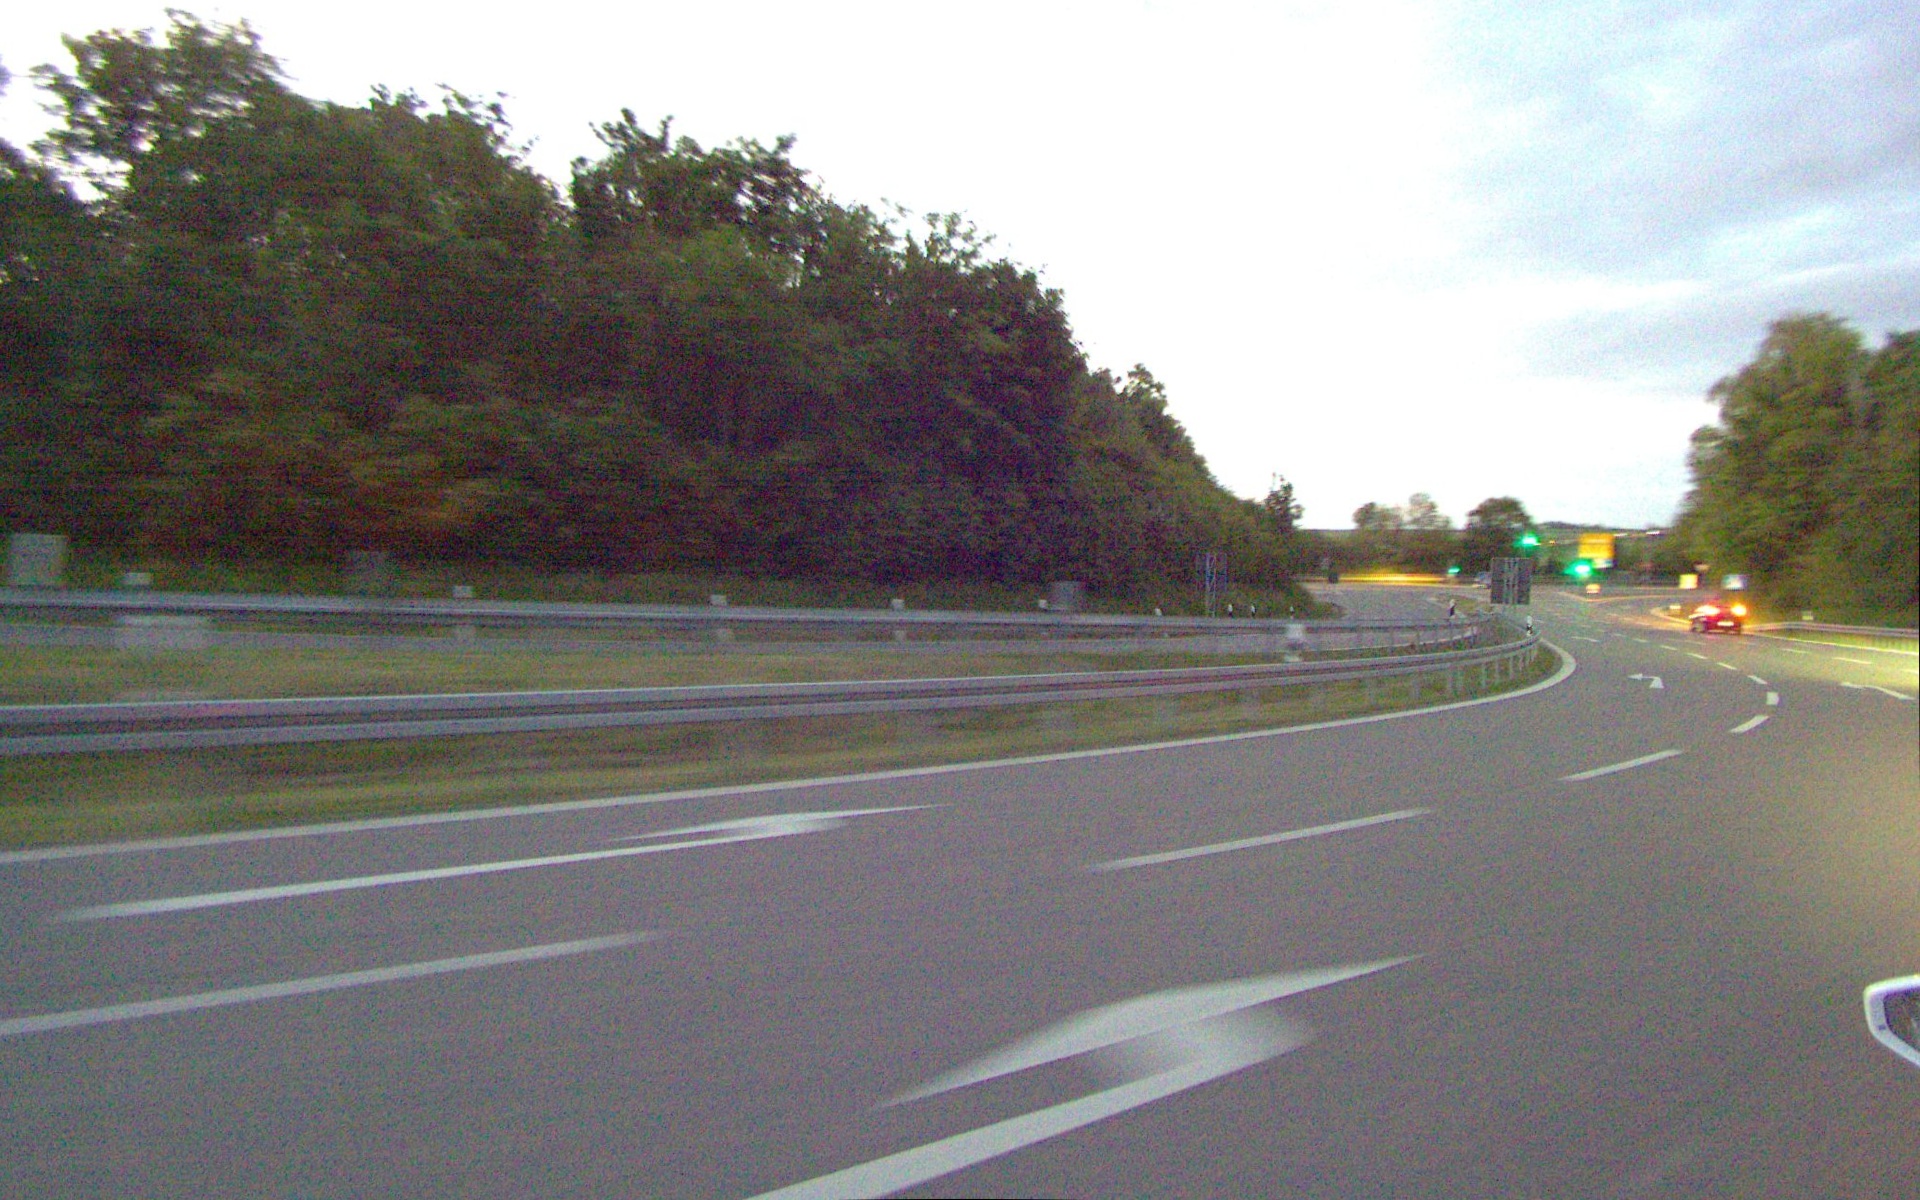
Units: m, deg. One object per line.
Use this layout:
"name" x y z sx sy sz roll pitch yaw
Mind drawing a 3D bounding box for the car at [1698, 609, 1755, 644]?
"car" 40.022 1.384 52.521 1.755 1.675 3.993 2 0 29
